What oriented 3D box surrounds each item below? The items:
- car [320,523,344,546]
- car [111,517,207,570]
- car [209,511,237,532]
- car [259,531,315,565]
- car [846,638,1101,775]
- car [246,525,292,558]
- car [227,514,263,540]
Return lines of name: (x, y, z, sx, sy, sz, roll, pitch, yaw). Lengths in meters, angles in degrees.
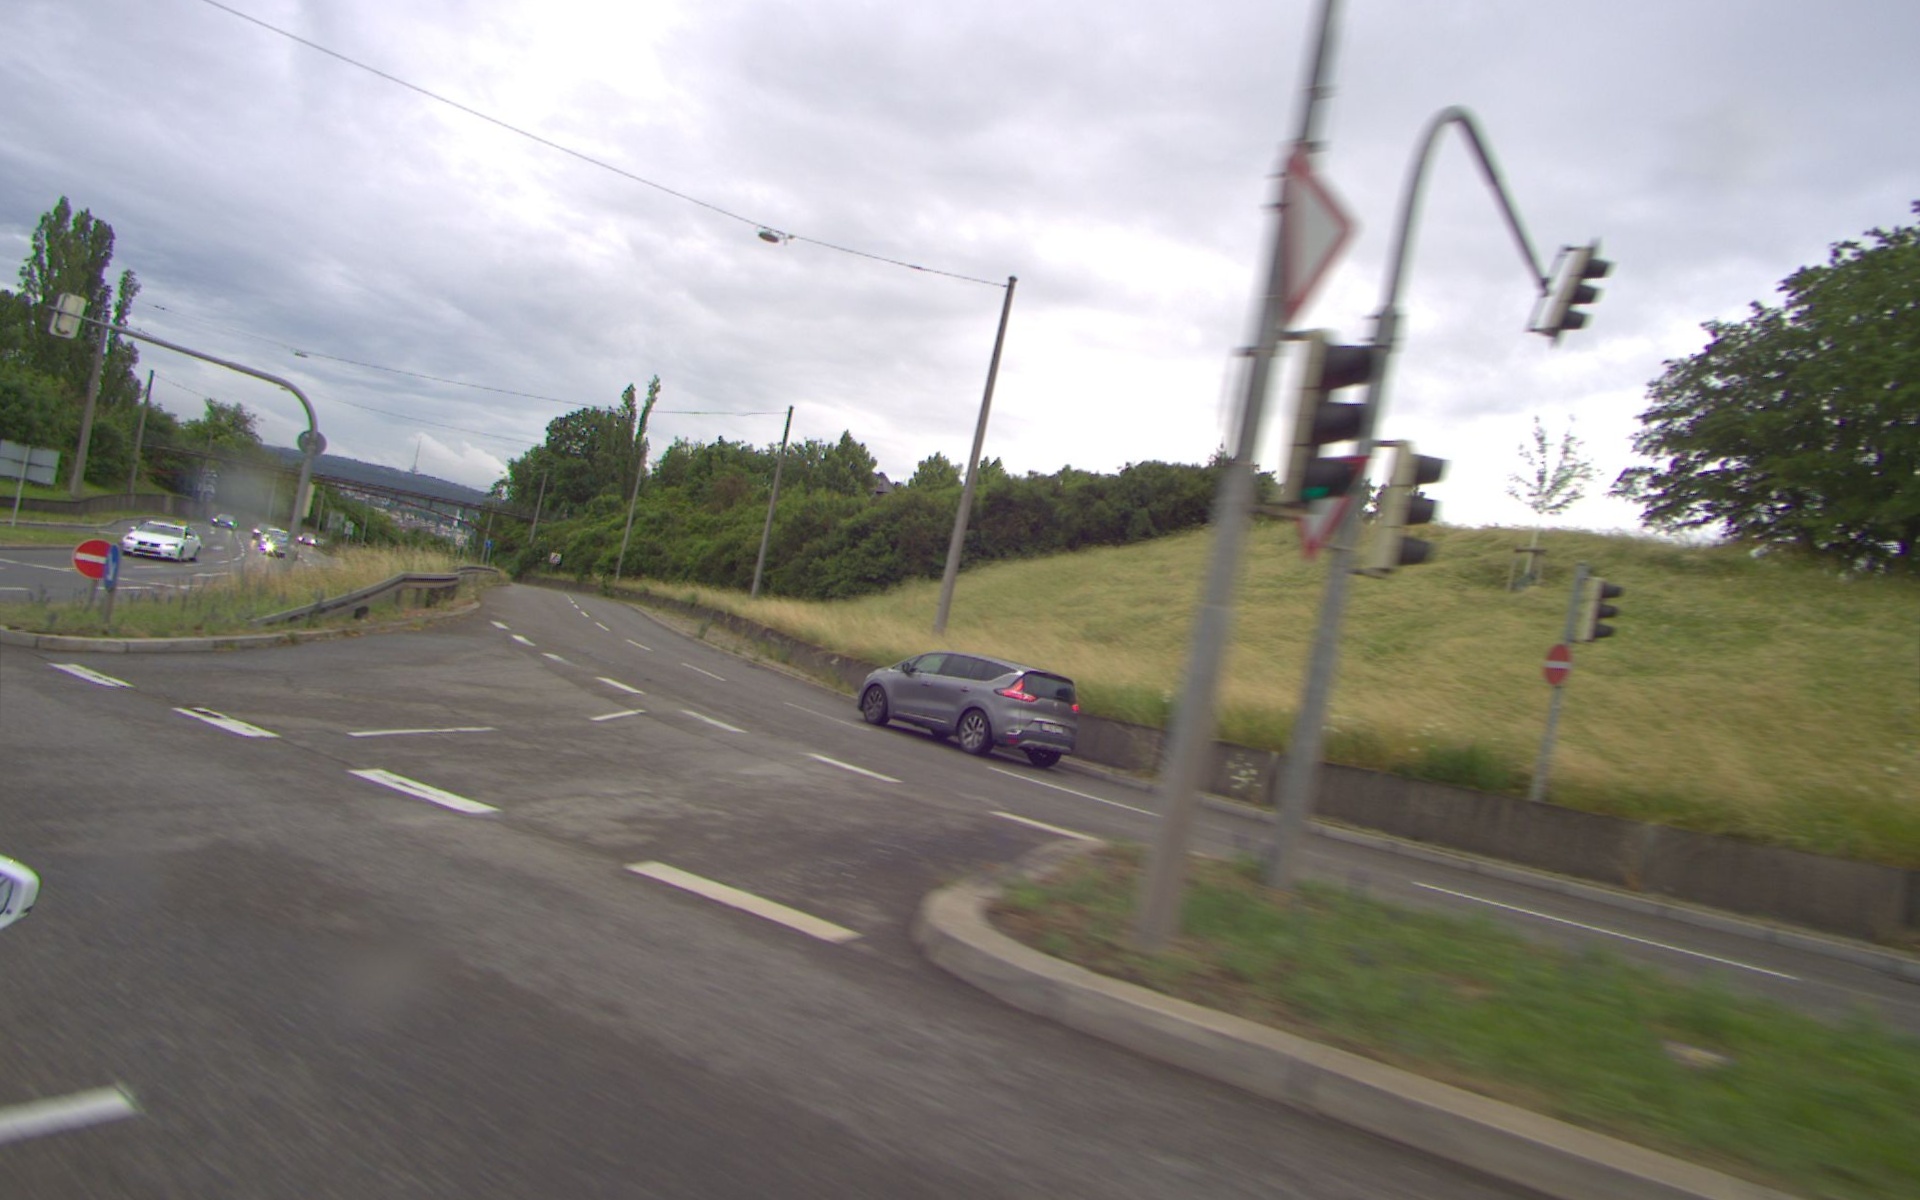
car: (-73.112, -7.621, 117.086, 2.064, 2.107, 4.331, 12, -2, -33)
car: (-32.417, -2.303, 40.837, 1.979, 1.635, 3.973, 12, -2, -26)
car: (-76.252, -8.148, 104.092, 1.869, 1.672, 4.087, 12, -2, -33)
car: (-41.176, -3.220, 61.632, 1.979, 1.635, 4.343, 12, -2, -26)
car: (0.099, 1.814, 17.881, 1.722, 1.665, 4.573, 13, -6, -41)
car: (-48.117, -4.117, 70.036, 1.990, 1.635, 4.319, 12, -2, -41)
car: (-62.361, -6.393, 87.701, 1.990, 1.635, 4.319, 12, -2, -41)
